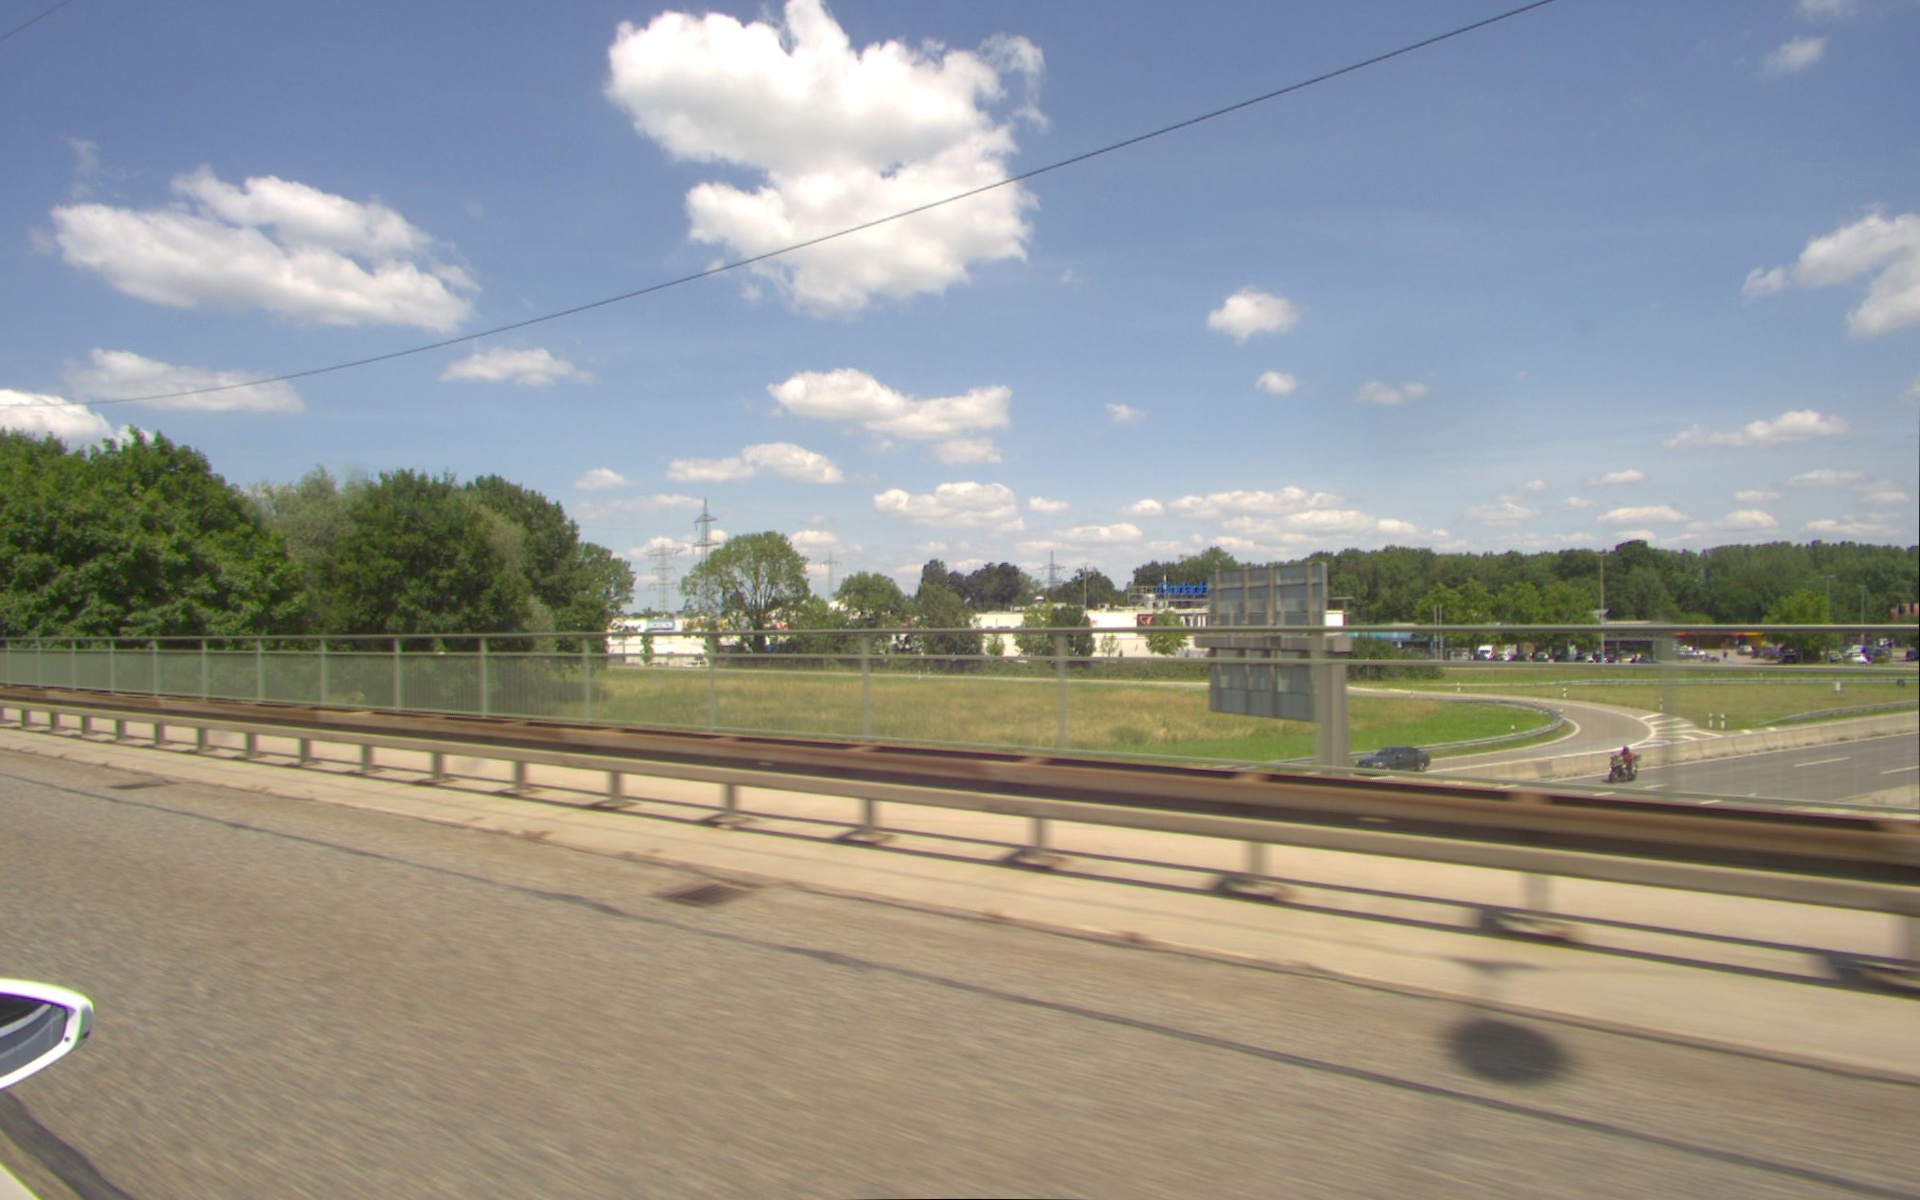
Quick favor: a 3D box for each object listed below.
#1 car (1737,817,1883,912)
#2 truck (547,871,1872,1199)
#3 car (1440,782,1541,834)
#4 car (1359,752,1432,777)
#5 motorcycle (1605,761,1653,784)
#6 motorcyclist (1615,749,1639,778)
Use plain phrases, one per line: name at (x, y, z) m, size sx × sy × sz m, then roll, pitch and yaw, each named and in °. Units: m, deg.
car at (24.759, 7.635, 29.156) m, size 3.939 × 1.885 × 1.809 m, roll 1°, pitch 2°, yaw -27°
truck at (3.815, 6.064, 10.086) m, size 14.559 × 4.271 × 2.822 m, roll 0°, pitch -3°, yaw -27°
car at (20.916, 8.146, 39.451) m, size 3.928 × 1.437 × 1.456 m, roll -1°, pitch -3°, yaw -27°
car at (23.662, 8.940, 54.376) m, size 3.860 × 1.185 × 1.661 m, roll 5°, pitch -6°, yaw -28°
motorcycle at (33.015, 8.519, 49.432) m, size 2.437 × 1.001 × 0.855 m, roll 5°, pitch -5°, yaw -26°
motorcyclist at (33.012, 8.085, 49.559) m, size 0.898 × 1.360 × 0.601 m, roll 5°, pitch -5°, yaw -26°
